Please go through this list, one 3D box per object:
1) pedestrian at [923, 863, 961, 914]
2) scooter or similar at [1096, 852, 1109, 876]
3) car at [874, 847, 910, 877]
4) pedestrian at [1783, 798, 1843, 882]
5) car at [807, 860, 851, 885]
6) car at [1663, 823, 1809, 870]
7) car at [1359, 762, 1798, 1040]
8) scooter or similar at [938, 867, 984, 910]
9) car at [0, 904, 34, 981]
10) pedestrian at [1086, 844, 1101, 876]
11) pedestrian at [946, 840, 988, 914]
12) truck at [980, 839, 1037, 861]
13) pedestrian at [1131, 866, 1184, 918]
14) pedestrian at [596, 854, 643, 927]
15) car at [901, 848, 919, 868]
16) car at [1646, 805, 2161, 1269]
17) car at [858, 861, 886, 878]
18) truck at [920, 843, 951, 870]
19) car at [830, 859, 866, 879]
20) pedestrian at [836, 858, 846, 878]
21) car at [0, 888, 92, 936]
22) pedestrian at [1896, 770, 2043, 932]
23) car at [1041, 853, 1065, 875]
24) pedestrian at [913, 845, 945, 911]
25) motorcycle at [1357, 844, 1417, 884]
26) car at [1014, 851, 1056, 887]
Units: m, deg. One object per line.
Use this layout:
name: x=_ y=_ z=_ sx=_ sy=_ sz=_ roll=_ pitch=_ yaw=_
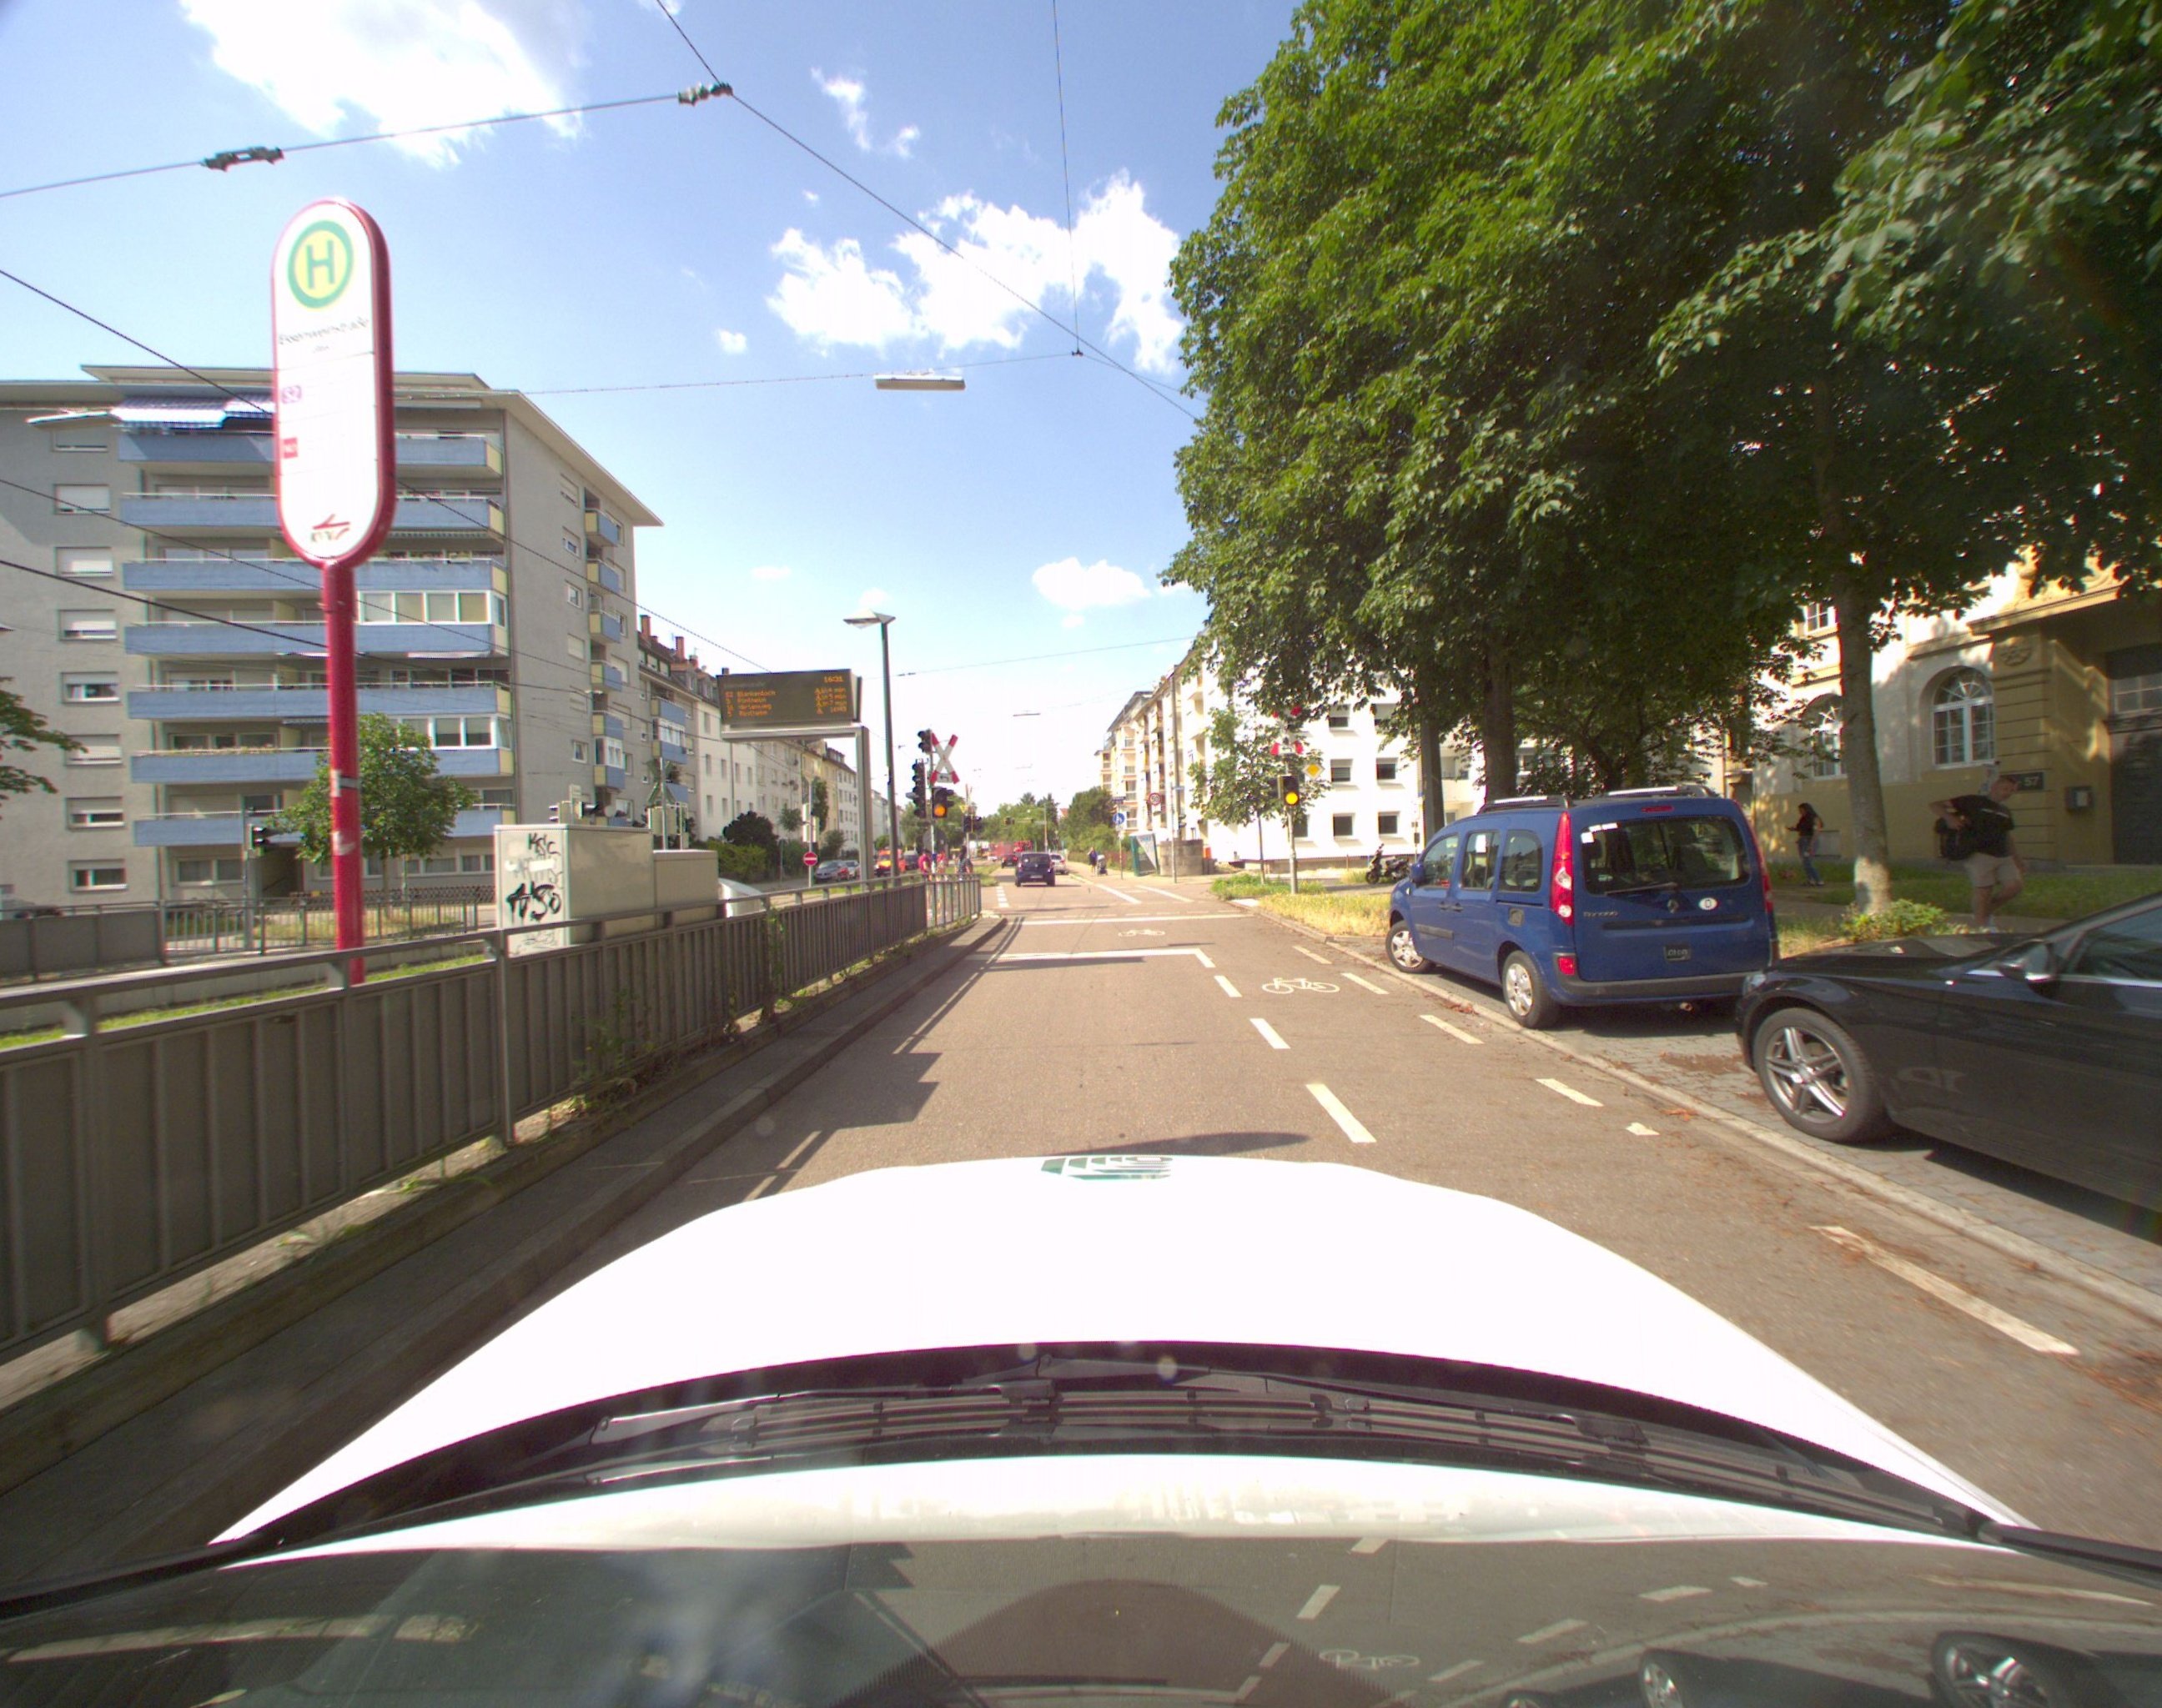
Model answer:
pedestrian: x=-3.340 y=0.822 z=19.540 sx=0.640 sy=1.180 sz=0.792 roll=-2 pitch=-1 yaw=-27
scooter or similar: x=1.255 y=0.569 z=47.494 sx=0.660 sy=1.303 sz=0.868 roll=-5 pitch=0 yaw=0
car: x=-15.563 y=0.639 z=67.192 sx=1.989 sy=2.275 sz=4.829 roll=-1 pitch=0 yaw=-3
pedestrian: x=14.321 y=-0.269 z=15.943 sx=0.629 sy=1.596 sz=0.539 roll=-3 pitch=-1 yaw=-2
car: x=-17.854 y=1.278 z=57.897 sx=1.989 sy=1.645 sz=3.996 roll=-1 pitch=0 yaw=-2
car: x=22.462 y=-0.244 z=28.145 sx=1.734 sy=1.459 sz=3.998 roll=-2 pitch=0 yaw=-2
car: x=4.296 y=0.312 z=7.968 sx=1.815 sy=1.896 sz=4.187 roll=-4 pitch=1 yaw=3
scooter or similar: x=-3.065 y=0.879 z=20.807 sx=1.098 sy=1.056 sz=0.649 roll=-1 pitch=-1 yaw=-4
car: x=-21.927 y=1.737 z=14.229 sx=4.154 sy=1.394 sz=1.591 roll=-3 pitch=0 yaw=-37
pedestrian: x=0.727 y=0.344 z=48.416 sx=0.699 sy=1.789 sz=1.030 roll=-5 pitch=0 yaw=-1
pedestrian: x=-2.687 y=0.530 z=19.149 sx=0.847 sy=1.667 sz=0.795 roll=-2 pitch=-1 yaw=-15
truck: x=-11.988 y=-0.626 z=136.187 sx=2.642 sy=3.470 sz=10.229 roll=-1 pitch=-1 yaw=43
pedestrian: x=3.196 y=1.571 z=34.833 sx=1.986 sy=2.014 sz=4.001 roll=-1 pitch=0 yaw=2
pedestrian: x=-10.854 y=0.839 z=19.158 sx=0.658 sy=1.664 sz=0.632 roll=-2 pitch=0 yaw=0
car: x=-21.432 y=0.513 z=102.162 sx=1.774 sy=2.400 sz=4.685 roll=-1 pitch=0 yaw=-6
car: x=4.458 y=0.573 z=2.606 sx=1.911 sy=1.442 sz=4.796 roll=-5 pitch=1 yaw=0
car: x=-18.943 y=1.380 z=73.851 sx=1.765 sy=1.441 sz=3.994 roll=-1 pitch=0 yaw=-4
truck: x=-18.793 y=0.318 z=105.654 sx=2.589 sy=3.185 sz=8.376 roll=-2 pitch=0 yaw=-2
car: x=-18.233 y=1.145 z=63.903 sx=1.764 sy=1.441 sz=3.996 roll=-1 pitch=0 yaw=-2
pedestrian: x=-21.638 y=1.241 z=73.456 sx=0.705 sy=1.794 sz=0.863 roll=-2 pitch=0 yaw=-7
car: x=-41.413 y=2.234 z=31.430 sx=3.975 sy=1.684 sz=1.999 roll=-1 pitch=0 yaw=-1
pedestrian: x=9.895 y=-0.036 z=9.104 sx=0.740 sy=1.696 sz=0.768 roll=-3 pitch=0 yaw=6
car: x=-2.039 y=0.716 z=58.008 sx=1.618 sy=1.465 sz=3.507 roll=-1 pitch=0 yaw=-3
pedestrian: x=-3.874 y=0.598 z=20.782 sx=0.704 sy=1.648 sz=0.636 roll=0 pitch=-1 yaw=-3
motorcycle: x=10.295 y=0.346 z=27.450 sx=0.574 sy=1.215 sz=1.828 roll=-7 pitch=1 yaw=-33
car: x=-2.049 y=0.641 z=36.661 sx=1.740 sy=1.507 sz=3.996 roll=-1 pitch=0 yaw=-3
